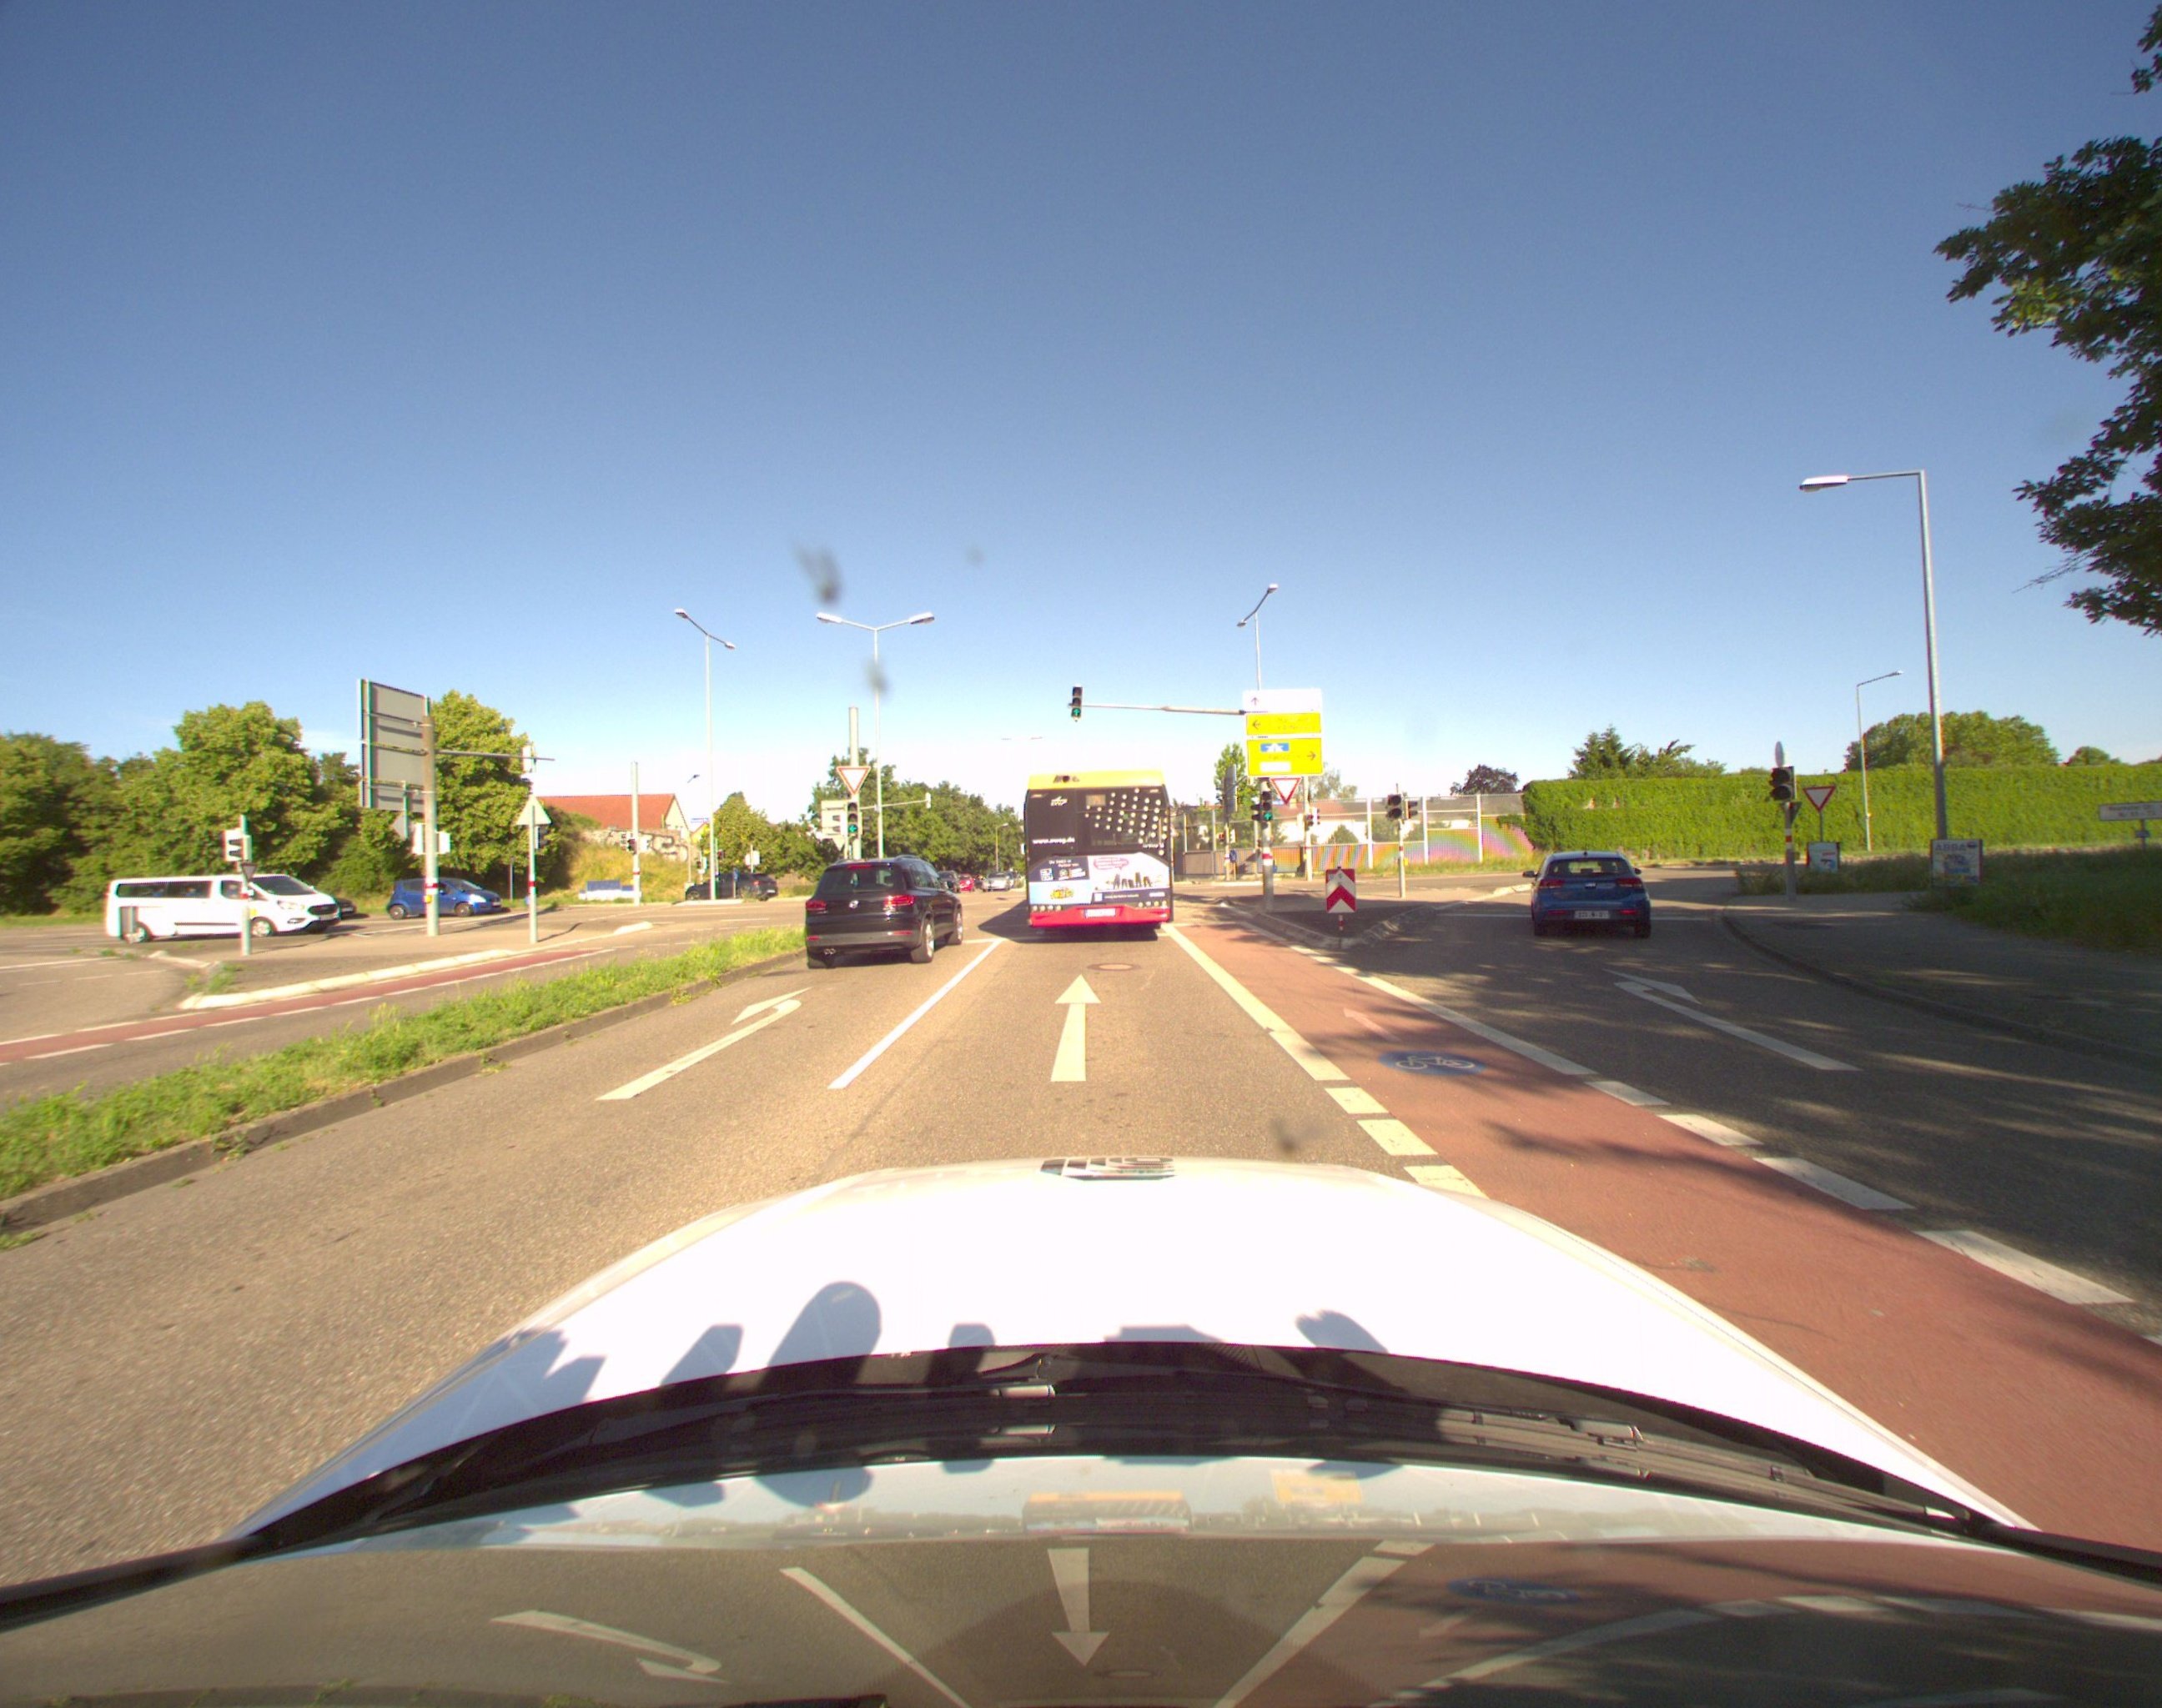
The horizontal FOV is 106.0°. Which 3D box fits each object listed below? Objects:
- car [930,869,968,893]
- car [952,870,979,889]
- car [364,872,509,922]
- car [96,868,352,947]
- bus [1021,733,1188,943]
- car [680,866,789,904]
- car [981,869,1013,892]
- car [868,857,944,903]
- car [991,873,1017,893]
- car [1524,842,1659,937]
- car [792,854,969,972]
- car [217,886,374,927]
[{"bbox_3d":[-9.600,1.942,59.478,1.987,1.644,4.528,-2,-1,-1],"label":"car"},{"bbox_3d":[-9.452,2.055,66.613,1.640,1.483,3.712,-2,-1,-1],"label":"car"},{"bbox_3d":[-25.275,1.657,32.071,4.020,1.644,1.890,-2,1,-5],"label":"car"},{"bbox_3d":[-25.976,1.576,24.874,5.250,2.013,2.044,-2,1,-5],"label":"car"},{"bbox_3d":[0.399,-0.232,19.691,2.748,3.458,12.395,0,0,0],"label":"bus"},{"bbox_3d":[-16.460,1.460,38.772,4.371,1.616,2.056,-2,-1,14],"label":"car"},{"bbox_3d":[-6.081,1.902,59.343,1.788,1.506,4.528,-2,-1,-1],"label":"car"},{"bbox_3d":[-7.151,0.977,32.982,2.051,1.616,4.382,-2,1,-25],"label":"car"},{"bbox_3d":[-6.130,2.302,65.188,1.741,1.483,3.886,-2,-1,-1],"label":"car"},{"bbox_3d":[9.213,0.560,14.965,1.715,1.440,3.817,-2,1,27],"label":"car"},{"bbox_3d":[-3.146,0.864,13.647,1.820,1.627,4.001,-2,-1,2],"label":"car"},{"bbox_3d":[-30.325,2.011,31.558,4.020,1.274,1.890,-2,1,-5],"label":"car"}]
